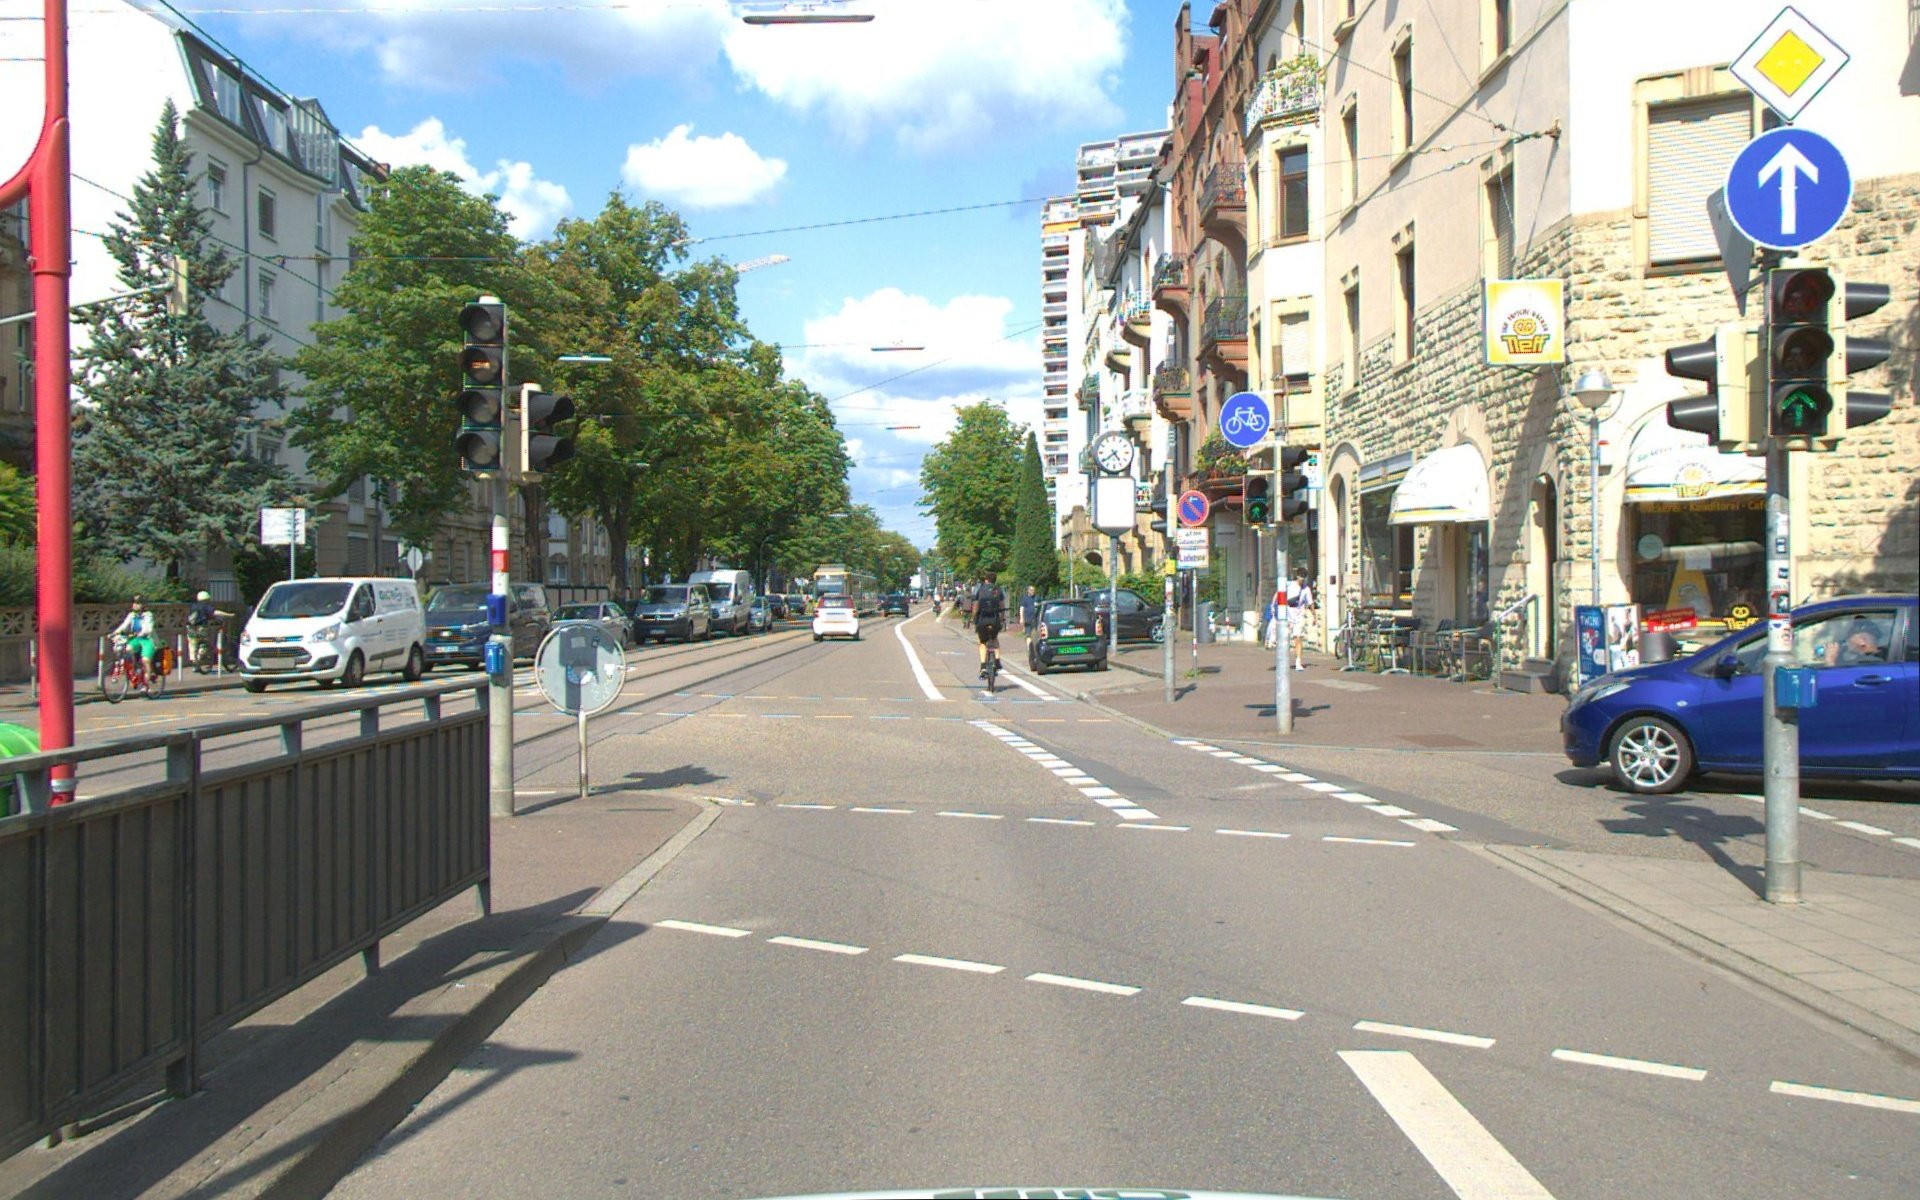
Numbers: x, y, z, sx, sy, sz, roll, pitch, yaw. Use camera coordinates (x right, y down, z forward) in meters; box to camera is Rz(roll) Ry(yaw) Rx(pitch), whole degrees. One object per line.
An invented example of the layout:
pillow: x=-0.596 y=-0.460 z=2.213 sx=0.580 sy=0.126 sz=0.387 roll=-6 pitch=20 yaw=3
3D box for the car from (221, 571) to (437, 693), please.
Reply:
car: x=-11.423 y=0.558 z=30.391 sx=1.952 sy=2.030 sz=5.089 roll=-1 pitch=-1 yaw=1

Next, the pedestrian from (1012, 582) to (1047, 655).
pedestrian: x=1.844 y=0.482 z=43.836 sx=0.647 sy=1.873 sz=0.872 roll=-5 pitch=0 yaw=-8

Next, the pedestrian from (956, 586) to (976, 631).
pedestrian: x=0.256 y=0.350 z=69.931 sx=0.772 sy=1.894 sz=0.579 roll=0 pitch=-1 yaw=-7

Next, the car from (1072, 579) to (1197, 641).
car: x=4.886 y=0.283 z=46.740 sx=3.331 sy=1.550 sz=1.972 roll=-3 pitch=0 yaw=2

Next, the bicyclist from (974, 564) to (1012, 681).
bicyclist: x=0.565 y=0.389 z=28.724 sx=0.594 sy=1.982 sz=1.130 roll=1 pitch=-1 yaw=0

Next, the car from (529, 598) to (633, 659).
car: x=-10.477 y=0.755 z=46.021 sx=1.657 sy=1.506 sz=4.483 roll=-2 pitch=1 yaw=2

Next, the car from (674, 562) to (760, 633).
car: x=-9.224 y=-0.147 z=63.238 sx=2.268 sy=2.551 sz=6.364 roll=-1 pitch=1 yaw=0

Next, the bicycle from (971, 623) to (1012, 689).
bicycle: x=0.537 y=0.962 z=28.716 sx=0.603 sy=1.063 sz=1.835 roll=-4 pitch=-2 yaw=0

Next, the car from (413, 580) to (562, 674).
car: x=-10.770 y=0.586 z=38.093 sx=1.888 sy=1.950 sz=5.123 roll=-2 pitch=0 yaw=0

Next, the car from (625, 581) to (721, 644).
car: x=-9.652 y=0.472 z=56.023 sx=1.944 sy=1.997 sz=5.181 roll=-1 pitch=-2 yaw=4

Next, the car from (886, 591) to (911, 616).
car: x=-4.312 y=0.232 z=116.934 sx=1.631 sy=1.653 sz=3.620 roll=-1 pitch=0 yaw=0

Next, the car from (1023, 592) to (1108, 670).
car: x=2.241 y=0.641 z=35.779 sx=1.483 sy=1.525 sz=2.793 roll=-3 pitch=0 yaw=-2

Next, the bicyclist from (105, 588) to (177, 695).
bicyclist: x=-13.598 y=0.685 z=27.471 sx=0.821 sy=1.725 sz=0.672 roll=1 pitch=-1 yaw=-2

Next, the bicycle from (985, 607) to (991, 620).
bicycle: x=1.509 y=0.731 z=89.449 sx=0.274 sy=0.689 sz=1.559 roll=-4 pitch=0 yaw=0

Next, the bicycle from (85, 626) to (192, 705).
bicycle: x=-13.640 y=1.076 z=27.529 sx=0.828 sy=1.180 sz=1.954 roll=2 pitch=1 yaw=-2

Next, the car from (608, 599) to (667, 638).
car: x=-13.715 y=0.768 z=70.522 sx=1.593 sy=1.498 sz=4.205 roll=1 pitch=1 yaw=1

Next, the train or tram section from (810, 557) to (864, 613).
train or tram section: x=-8.222 y=-0.895 z=112.262 sx=2.598 sy=3.496 sz=12.314 roll=-2 pitch=0 yaw=0

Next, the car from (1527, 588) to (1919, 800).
car: x=6.556 y=0.647 z=12.520 sx=3.919 sy=1.444 sz=1.886 roll=-1 pitch=0 yaw=35

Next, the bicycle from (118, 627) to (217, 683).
bicycle: x=-15.107 y=1.035 z=31.596 sx=0.978 sy=0.949 sz=1.860 roll=3 pitch=1 yaw=-2

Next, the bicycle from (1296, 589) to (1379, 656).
bicycle: x=7.137 y=0.417 z=31.424 sx=0.789 sy=1.198 sz=2.750 roll=1 pitch=0 yaw=-3

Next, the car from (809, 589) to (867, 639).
car: x=-4.177 y=0.479 z=57.099 sx=1.631 sy=1.653 sz=3.621 roll=1 pitch=0 yaw=1

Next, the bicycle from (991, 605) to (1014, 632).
bicycle: x=1.622 y=0.709 z=63.950 sx=0.587 sy=0.977 sz=3.064 roll=-4 pitch=0 yaw=-3

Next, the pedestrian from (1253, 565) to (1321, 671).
pedestrian: x=5.797 y=0.307 z=29.354 sx=0.990 sy=1.799 sz=0.850 roll=-2 pitch=1 yaw=1

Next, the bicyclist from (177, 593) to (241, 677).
bicyclist: x=-15.188 y=0.700 z=33.466 sx=0.931 sy=1.673 sz=0.701 roll=1 pitch=-1 yaw=-2

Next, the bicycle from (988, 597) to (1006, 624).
bicycle: x=1.711 y=0.483 z=76.668 sx=0.725 sy=1.252 sz=2.516 roll=-1 pitch=0 yaw=-1

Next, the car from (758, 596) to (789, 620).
car: x=-13.667 y=0.568 z=121.389 sx=1.715 sy=1.694 sz=4.719 roll=1 pitch=0 yaw=-1

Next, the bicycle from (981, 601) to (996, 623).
bicycle: x=1.370 y=0.564 z=80.134 sx=0.598 sy=1.013 sz=2.362 roll=-3 pitch=0 yaw=-1
